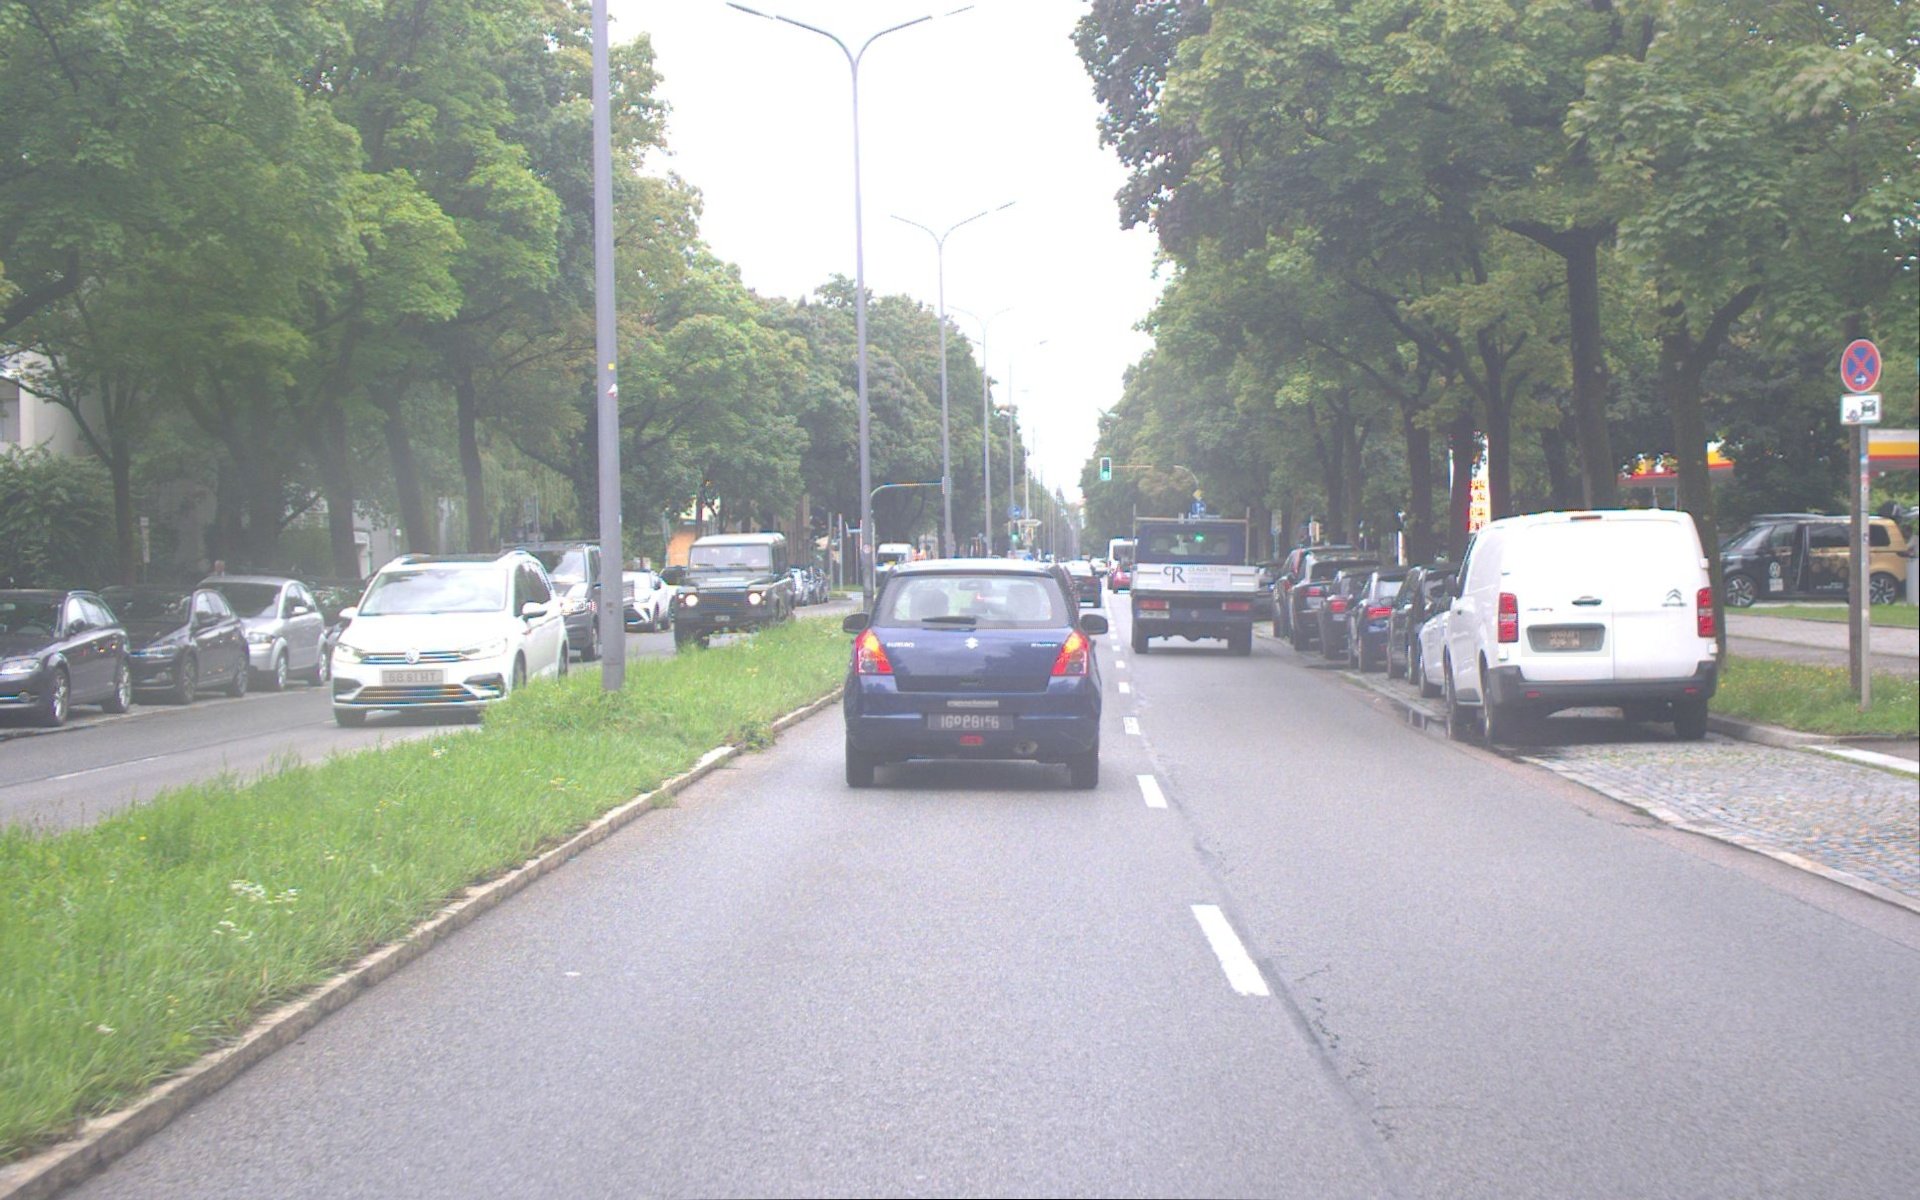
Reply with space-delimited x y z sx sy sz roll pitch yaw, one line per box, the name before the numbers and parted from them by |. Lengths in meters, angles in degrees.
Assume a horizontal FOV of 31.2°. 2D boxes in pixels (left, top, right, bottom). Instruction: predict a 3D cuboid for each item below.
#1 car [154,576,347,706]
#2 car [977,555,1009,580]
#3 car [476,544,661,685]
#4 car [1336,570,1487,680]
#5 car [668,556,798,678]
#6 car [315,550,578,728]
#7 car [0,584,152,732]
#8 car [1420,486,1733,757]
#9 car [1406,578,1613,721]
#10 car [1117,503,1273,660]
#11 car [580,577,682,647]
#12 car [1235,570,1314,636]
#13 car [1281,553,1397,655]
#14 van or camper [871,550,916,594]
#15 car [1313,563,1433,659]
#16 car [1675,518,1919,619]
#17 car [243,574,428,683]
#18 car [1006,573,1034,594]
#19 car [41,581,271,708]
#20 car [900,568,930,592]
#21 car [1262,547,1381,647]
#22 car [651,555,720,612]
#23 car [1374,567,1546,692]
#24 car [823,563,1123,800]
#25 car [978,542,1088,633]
car | -9.721 0.529 47.358 1.626 1.642 3.867 2 1 3
car | 1.955 -1.934 203.837 1.739 1.435 4.215 -1 1 3
car | -6.534 0.205 58.082 2.209 2.186 5.799 -2 0 2
car | 6.233 0.315 47.796 1.702 1.416 4.121 -1 1 3
car | -3.948 0.265 60.425 1.780 2.022 4.818 -1 1 2
car | -5.076 0.346 34.534 1.834 1.637 4.350 -1 1 2
car | -10.092 0.579 37.073 1.580 1.418 4.362 2 1 2
car | 5.379 0.147 30.722 1.987 2.150 5.555 -1 1 3
car | 5.859 0.490 37.046 1.702 1.392 4.232 -1 1 3
car | 3.855 -0.318 56.434 2.419 2.436 5.086 1 1 4
car | -8.088 0.267 84.923 1.832 1.604 4.491 2 1 3
car | 7.744 0.045 84.877 1.780 1.506 4.284 -3 0 4
car | 6.577 0.042 60.009 1.813 1.670 4.799 -1 1 4
van or camper | -3.785 -1.605 196.580 2.140 2.467 6.258 -1 1 3
car | 6.505 0.144 54.486 1.702 1.403 4.512 -1 1 5
car | 18.267 -0.679 73.651 5.470 2.076 2.147 -1 0 2
car | -9.480 0.395 52.564 1.716 1.519 5.034 2 1 2
car | 4.348 -1.207 249.863 1.738 1.437 4.102 -1 1 5
car | -9.915 0.517 42.682 1.626 1.418 4.191 2 1 3
car | -2.831 -1.264 216.733 1.636 1.437 3.734 -1 1 3
car | 6.887 -0.077 65.914 1.893 1.794 4.861 -1 1 2
car | -7.797 -0.479 97.796 1.690 1.560 3.080 -1 1 0
car | 6.172 0.329 42.801 1.702 1.442 3.978 -1 1 3
car | 0.057 0.500 23.598 1.896 1.494 3.660 0 0 -1
car | 1.286 -0.232 59.162 1.799 1.494 3.660 -1 1 2
